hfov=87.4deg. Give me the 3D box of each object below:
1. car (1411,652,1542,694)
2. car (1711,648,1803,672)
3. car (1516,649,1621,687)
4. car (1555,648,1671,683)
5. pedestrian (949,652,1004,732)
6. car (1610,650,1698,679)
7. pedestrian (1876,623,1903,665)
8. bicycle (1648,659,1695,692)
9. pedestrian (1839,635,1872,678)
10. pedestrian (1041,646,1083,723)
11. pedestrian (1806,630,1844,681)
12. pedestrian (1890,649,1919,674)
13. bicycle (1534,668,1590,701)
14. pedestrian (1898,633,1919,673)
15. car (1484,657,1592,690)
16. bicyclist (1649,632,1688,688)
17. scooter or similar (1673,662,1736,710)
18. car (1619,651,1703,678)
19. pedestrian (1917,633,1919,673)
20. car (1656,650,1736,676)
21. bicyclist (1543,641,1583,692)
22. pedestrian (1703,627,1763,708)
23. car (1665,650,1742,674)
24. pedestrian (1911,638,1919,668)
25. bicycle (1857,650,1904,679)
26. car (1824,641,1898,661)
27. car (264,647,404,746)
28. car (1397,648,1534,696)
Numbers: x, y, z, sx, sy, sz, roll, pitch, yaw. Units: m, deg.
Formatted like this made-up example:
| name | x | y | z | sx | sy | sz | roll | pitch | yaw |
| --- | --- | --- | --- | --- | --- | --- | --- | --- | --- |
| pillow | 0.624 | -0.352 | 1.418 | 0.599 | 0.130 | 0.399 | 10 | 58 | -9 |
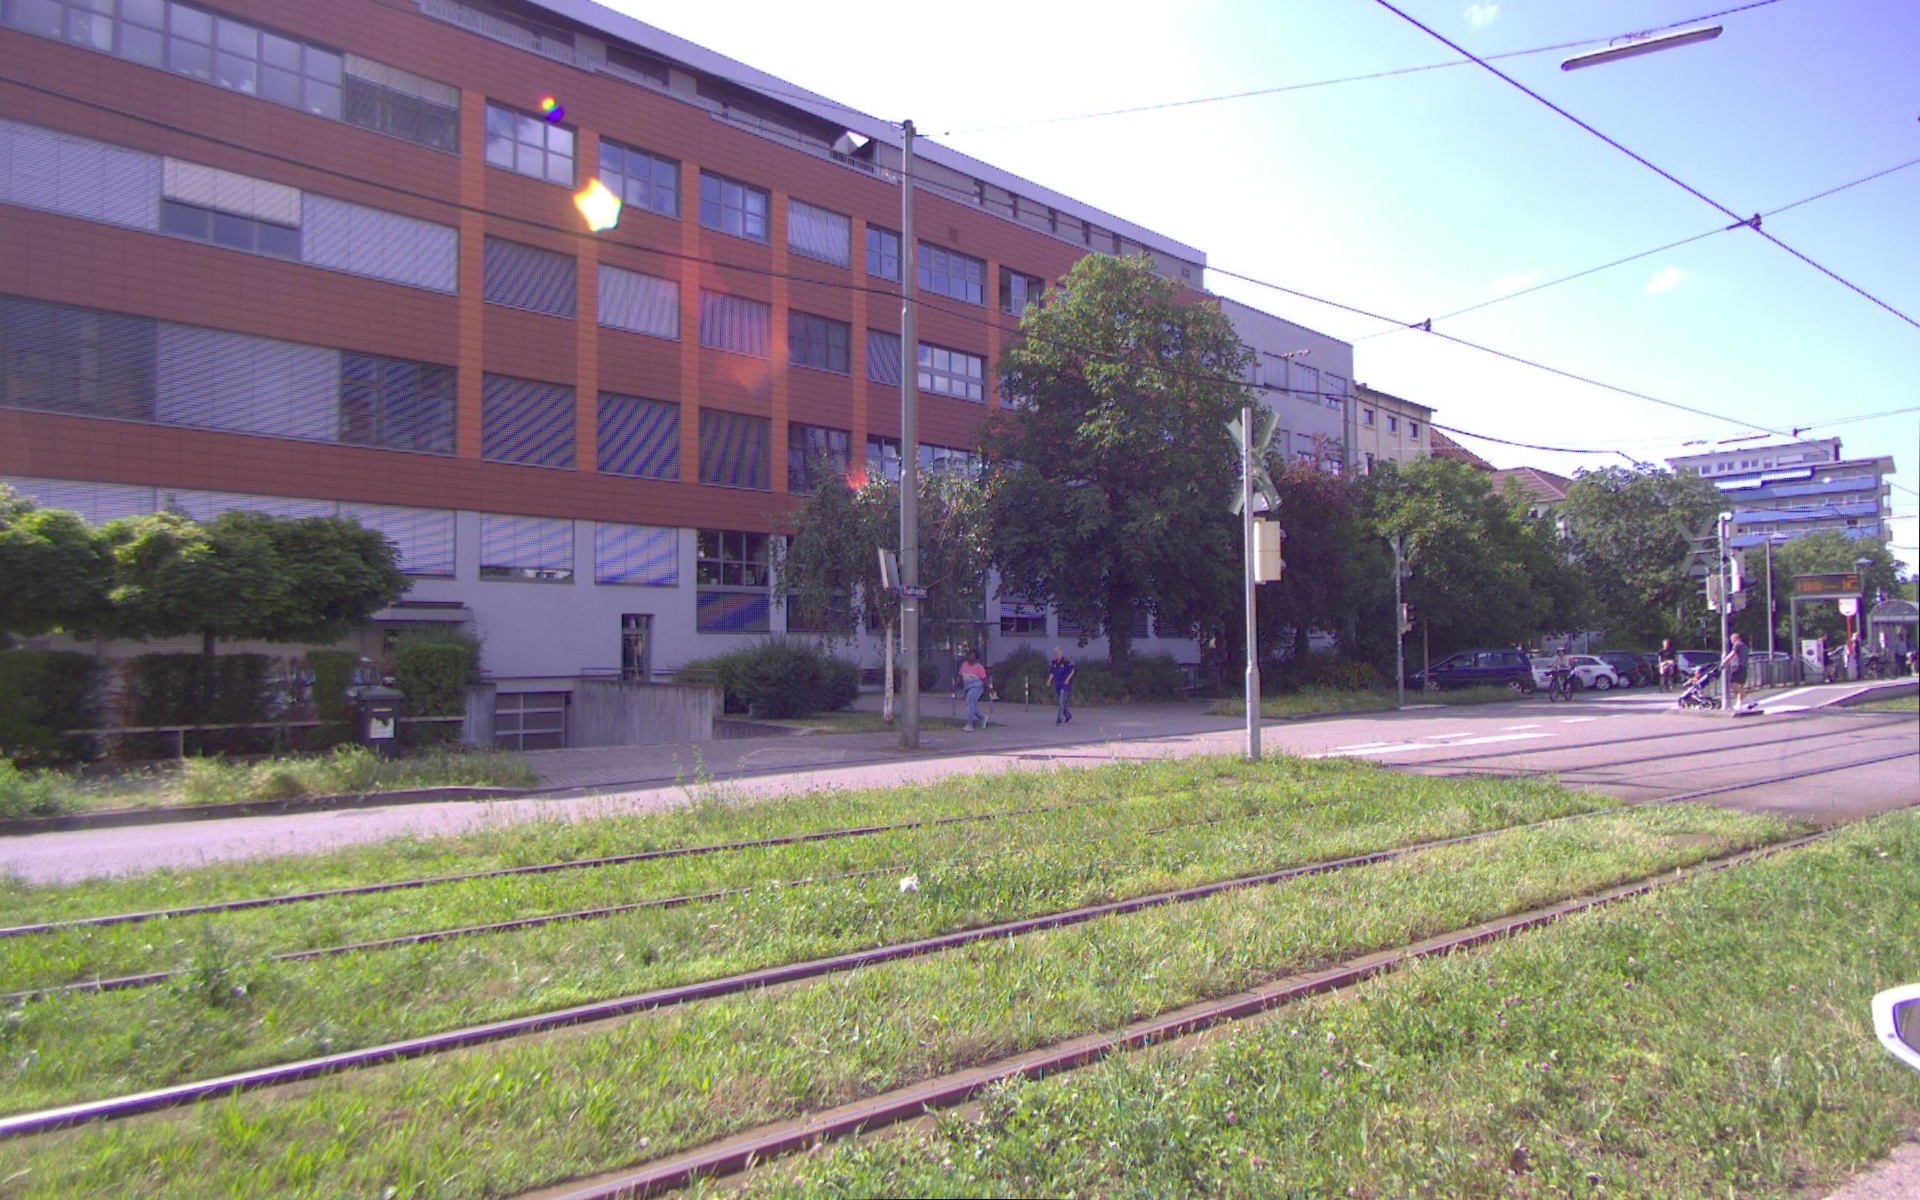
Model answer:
| name | x | y | z | sx | sy | sz | roll | pitch | yaw |
| --- | --- | --- | --- | --- | --- | --- | --- | --- | --- |
| car | 19.352 | 2.730 | 37.800 | 4.049 | 1.518 | 1.727 | -1 | -3 | 12 |
| car | 48.279 | 3.649 | 60.921 | 3.919 | 1.385 | 1.718 | -2 | -4 | 11 |
| car | 25.050 | 2.817 | 41.451 | 3.320 | 1.524 | 1.546 | -1 | -3 | 14 |
| car | 29.117 | 2.923 | 44.892 | 3.919 | 1.475 | 1.692 | -2 | -4 | 11 |
| pedestrian | 0.347 | 1.887 | 20.733 | 0.879 | 1.594 | 0.742 | 3 | -4 | -30 |
| car | 33.796 | 3.139 | 48.950 | 3.181 | 1.326 | 1.457 | -1 | -3 | 3 |
| pedestrian | 38.878 | 1.840 | 42.005 | 0.650 | 1.714 | 0.650 | 2 | -4 | -38 |
| bicycle | 26.891 | 2.850 | 37.945 | 1.142 | 1.193 | 1.777 | -5 | -6 | 44 |
| pedestrian | 33.758 | 2.134 | 37.864 | 0.678 | 1.589 | 0.660 | 1 | -5 | -31 |
| pedestrian | 2.264 | 1.872 | 22.327 | 0.738 | 1.678 | 0.554 | 1 | -4 | -30 |
| pedestrian | 29.873 | 1.921 | 34.701 | 0.654 | 1.749 | 0.715 | -1 | -3 | 3 |
| pedestrian | 40.096 | 2.601 | 42.479 | 0.790 | 1.001 | 0.918 | 3 | -6 | -36 |
| bicycle | 19.201 | 2.687 | 32.016 | 2.157 | 0.983 | 0.676 | 2 | -4 | -35 |
| pedestrian | 42.071 | 2.346 | 44.465 | 0.551 | 1.758 | 0.590 | 1 | -4 | -34 |
| car | 22.650 | 2.871 | 39.488 | 3.320 | 1.252 | 1.546 | -1 | -3 | 12 |
| bicyclist | 26.807 | 2.262 | 38.005 | 0.938 | 2.040 | 1.567 | -3 | -4 | 44 |
| scooter or similar | 17.373 | 2.013 | 23.444 | 0.790 | 1.078 | 0.947 | 2 | -6 | -39 |
| car | 35.601 | 3.283 | 51.062 | 3.181 | 1.326 | 1.457 | -1 | -3 | 6 |
| pedestrian | 43.150 | 2.359 | 44.711 | 0.631 | 1.789 | 0.601 | 1 | -3 | -29 |
| car | 40.243 | 3.442 | 54.948 | 3.181 | 1.326 | 1.457 | -1 | -3 | 6 |
| bicyclist | 19.305 | 2.128 | 32.160 | 0.855 | 1.602 | 0.780 | 1 | -4 | -35 |
| pedestrian | 17.837 | 1.558 | 23.182 | 0.997 | 1.798 | 0.862 | 2 | -6 | -44 |
| car | 42.180 | 3.530 | 57.002 | 3.181 | 1.326 | 1.457 | -1 | -3 | 6 |
| pedestrian | 47.508 | 2.611 | 49.750 | 0.482 | 1.470 | 0.461 | -4 | -4 | 42 |
| bicycle | 34.048 | 2.375 | 37.149 | 1.749 | 0.987 | 0.683 | 1 | -5 | -29 |
| car | 71.679 | 4.066 | 79.977 | 3.920 | 1.466 | 1.729 | -2 | -3 | 17 |
| car | -11.698 | 1.700 | 18.650 | 1.980 | 1.616 | 3.962 | 2 | -4 | -35 |
| car | 18.019 | 2.573 | 35.973 | 4.049 | 1.662 | 1.727 | -1 | -3 | 12 |
